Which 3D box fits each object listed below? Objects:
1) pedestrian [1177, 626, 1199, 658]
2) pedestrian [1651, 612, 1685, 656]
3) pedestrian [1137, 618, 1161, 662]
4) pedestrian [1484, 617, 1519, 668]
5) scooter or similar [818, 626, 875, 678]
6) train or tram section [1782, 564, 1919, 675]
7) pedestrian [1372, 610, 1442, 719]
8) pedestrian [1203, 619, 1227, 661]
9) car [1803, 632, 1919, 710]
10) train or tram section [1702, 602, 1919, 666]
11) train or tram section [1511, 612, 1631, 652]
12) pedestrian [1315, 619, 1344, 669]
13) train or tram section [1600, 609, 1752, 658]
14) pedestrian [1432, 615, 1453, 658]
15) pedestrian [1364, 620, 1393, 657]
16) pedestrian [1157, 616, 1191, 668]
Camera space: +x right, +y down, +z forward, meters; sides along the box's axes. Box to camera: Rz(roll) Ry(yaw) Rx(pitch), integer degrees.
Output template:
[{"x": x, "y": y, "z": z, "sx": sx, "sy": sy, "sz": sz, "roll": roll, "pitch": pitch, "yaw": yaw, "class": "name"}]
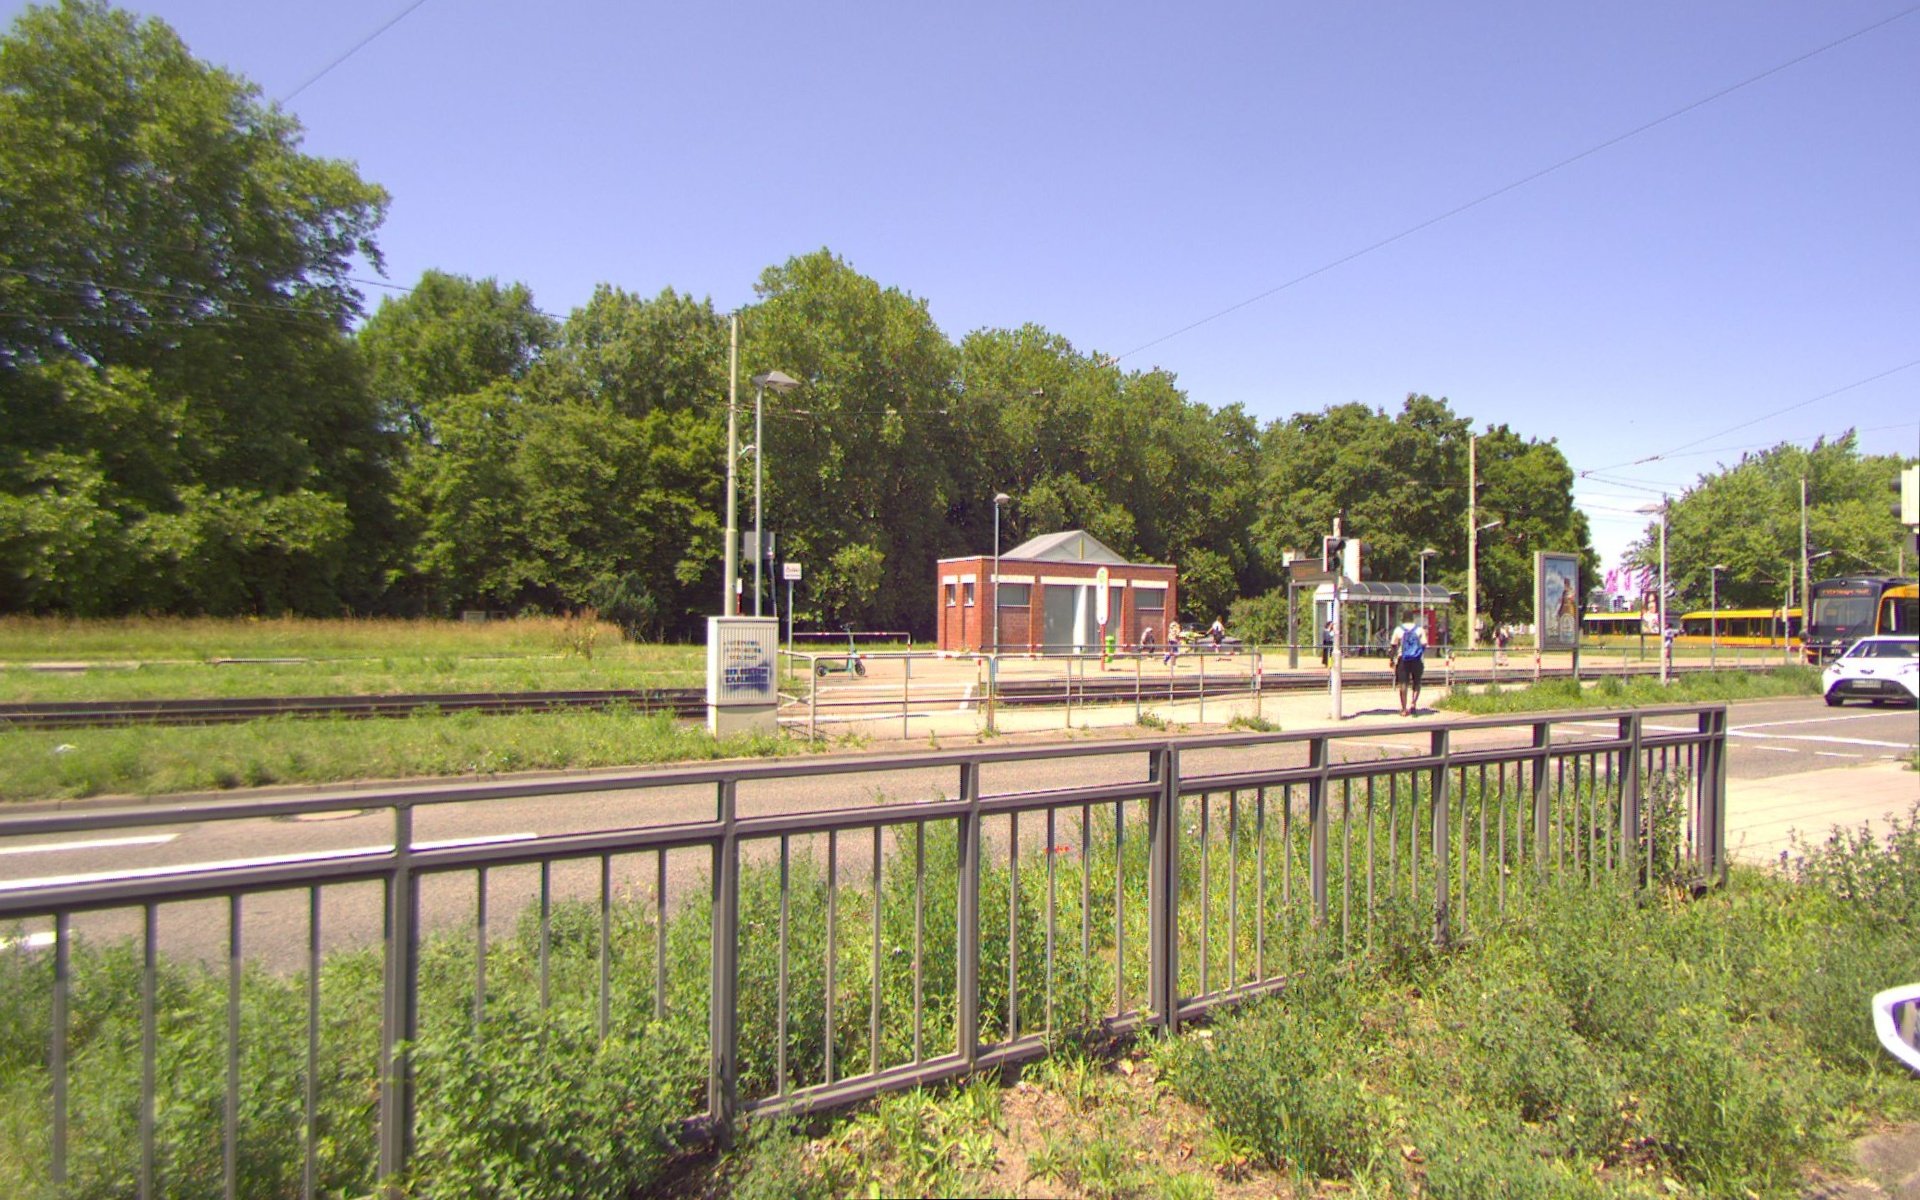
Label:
[{"x": 8.455, "y": 1.552, "z": 37.286, "sx": 0.560, "sy": 1.139, "sz": 0.639, "roll": 1, "pitch": -1, "yaw": -15, "class": "pedestrian"}, {"x": 33.283, "y": 1.601, "z": 47.201, "sx": 1.009, "sy": 2.040, "sz": 0.976, "roll": 1, "pitch": -1, "yaw": -30, "class": "pedestrian"}, {"x": 6.598, "y": 1.389, "z": 35.070, "sx": 0.563, "sy": 1.499, "sz": 0.636, "roll": 1, "pitch": -1, "yaw": -30, "class": "pedestrian"}, {"x": 20.026, "y": 1.552, "z": 37.154, "sx": 0.832, "sy": 1.802, "sz": 0.714, "roll": -1, "pitch": 5, "yaw": -30, "class": "pedestrian"}, {"x": -2.644, "y": 1.204, "z": 23.449, "sx": 1.217, "sy": 1.183, "sz": 0.508, "roll": 1, "pitch": -1, "yaw": -30, "class": "scooter or similar"}, {"x": 43.619, "y": 0.997, "z": 43.341, "sx": 29.688, "sy": 3.799, "sz": 2.943, "roll": 1, "pitch": -1, "yaw": -31, "class": "train or tram section"}, {"x": 7.771, "y": 1.088, "z": 17.481, "sx": 0.711, "sy": 1.802, "sz": 0.836, "roll": -1, "pitch": 2, "yaw": -30, "class": "pedestrian"}, {"x": 9.049, "y": 1.406, "z": 35.609, "sx": 0.573, "sy": 1.476, "sz": 0.639, "roll": 1, "pitch": -1, "yaw": -15, "class": "pedestrian"}, {"x": 20.115, "y": 1.464, "z": 21.667, "sx": 3.747, "sy": 1.514, "sz": 1.836, "roll": 1, "pitch": -1, "yaw": -30, "class": "car"}, {"x": 60.914, "y": 2.364, "z": 72.935, "sx": 3.160, "sy": 3.984, "sz": 18.513, "roll": 1, "pitch": -1, "yaw": 9, "class": "train or tram section"}, {"x": 66.364, "y": 3.432, "z": 110.018, "sx": 3.161, "sy": 3.984, "sz": 18.510, "roll": 1, "pitch": -1, "yaw": 4, "class": "train or tram section"}, {"x": 11.918, "y": 1.399, "z": 32.379, "sx": 0.688, "sy": 1.575, "sz": 0.629, "roll": 1, "pitch": -1, "yaw": -42, "class": "pedestrian"}, {"x": 64.096, "y": 2.916, "z": 90.879, "sx": 3.160, "sy": 3.984, "sz": 18.513, "roll": 1, "pitch": -1, "yaw": 9, "class": "train or tram section"}, {"x": 20.694, "y": 1.563, "z": 43.089, "sx": 0.707, "sy": 1.824, "sz": 0.845, "roll": 0, "pitch": -1, "yaw": 17, "class": "pedestrian"}, {"x": 17.237, "y": 1.576, "z": 41.373, "sx": 0.710, "sy": 1.531, "sz": 0.841, "roll": 1, "pitch": -1, "yaw": -19, "class": "pedestrian"}, {"x": 6.715, "y": 1.310, "z": 31.530, "sx": 0.799, "sy": 1.611, "sz": 0.668, "roll": 1, "pitch": -1, "yaw": -30, "class": "pedestrian"}]
